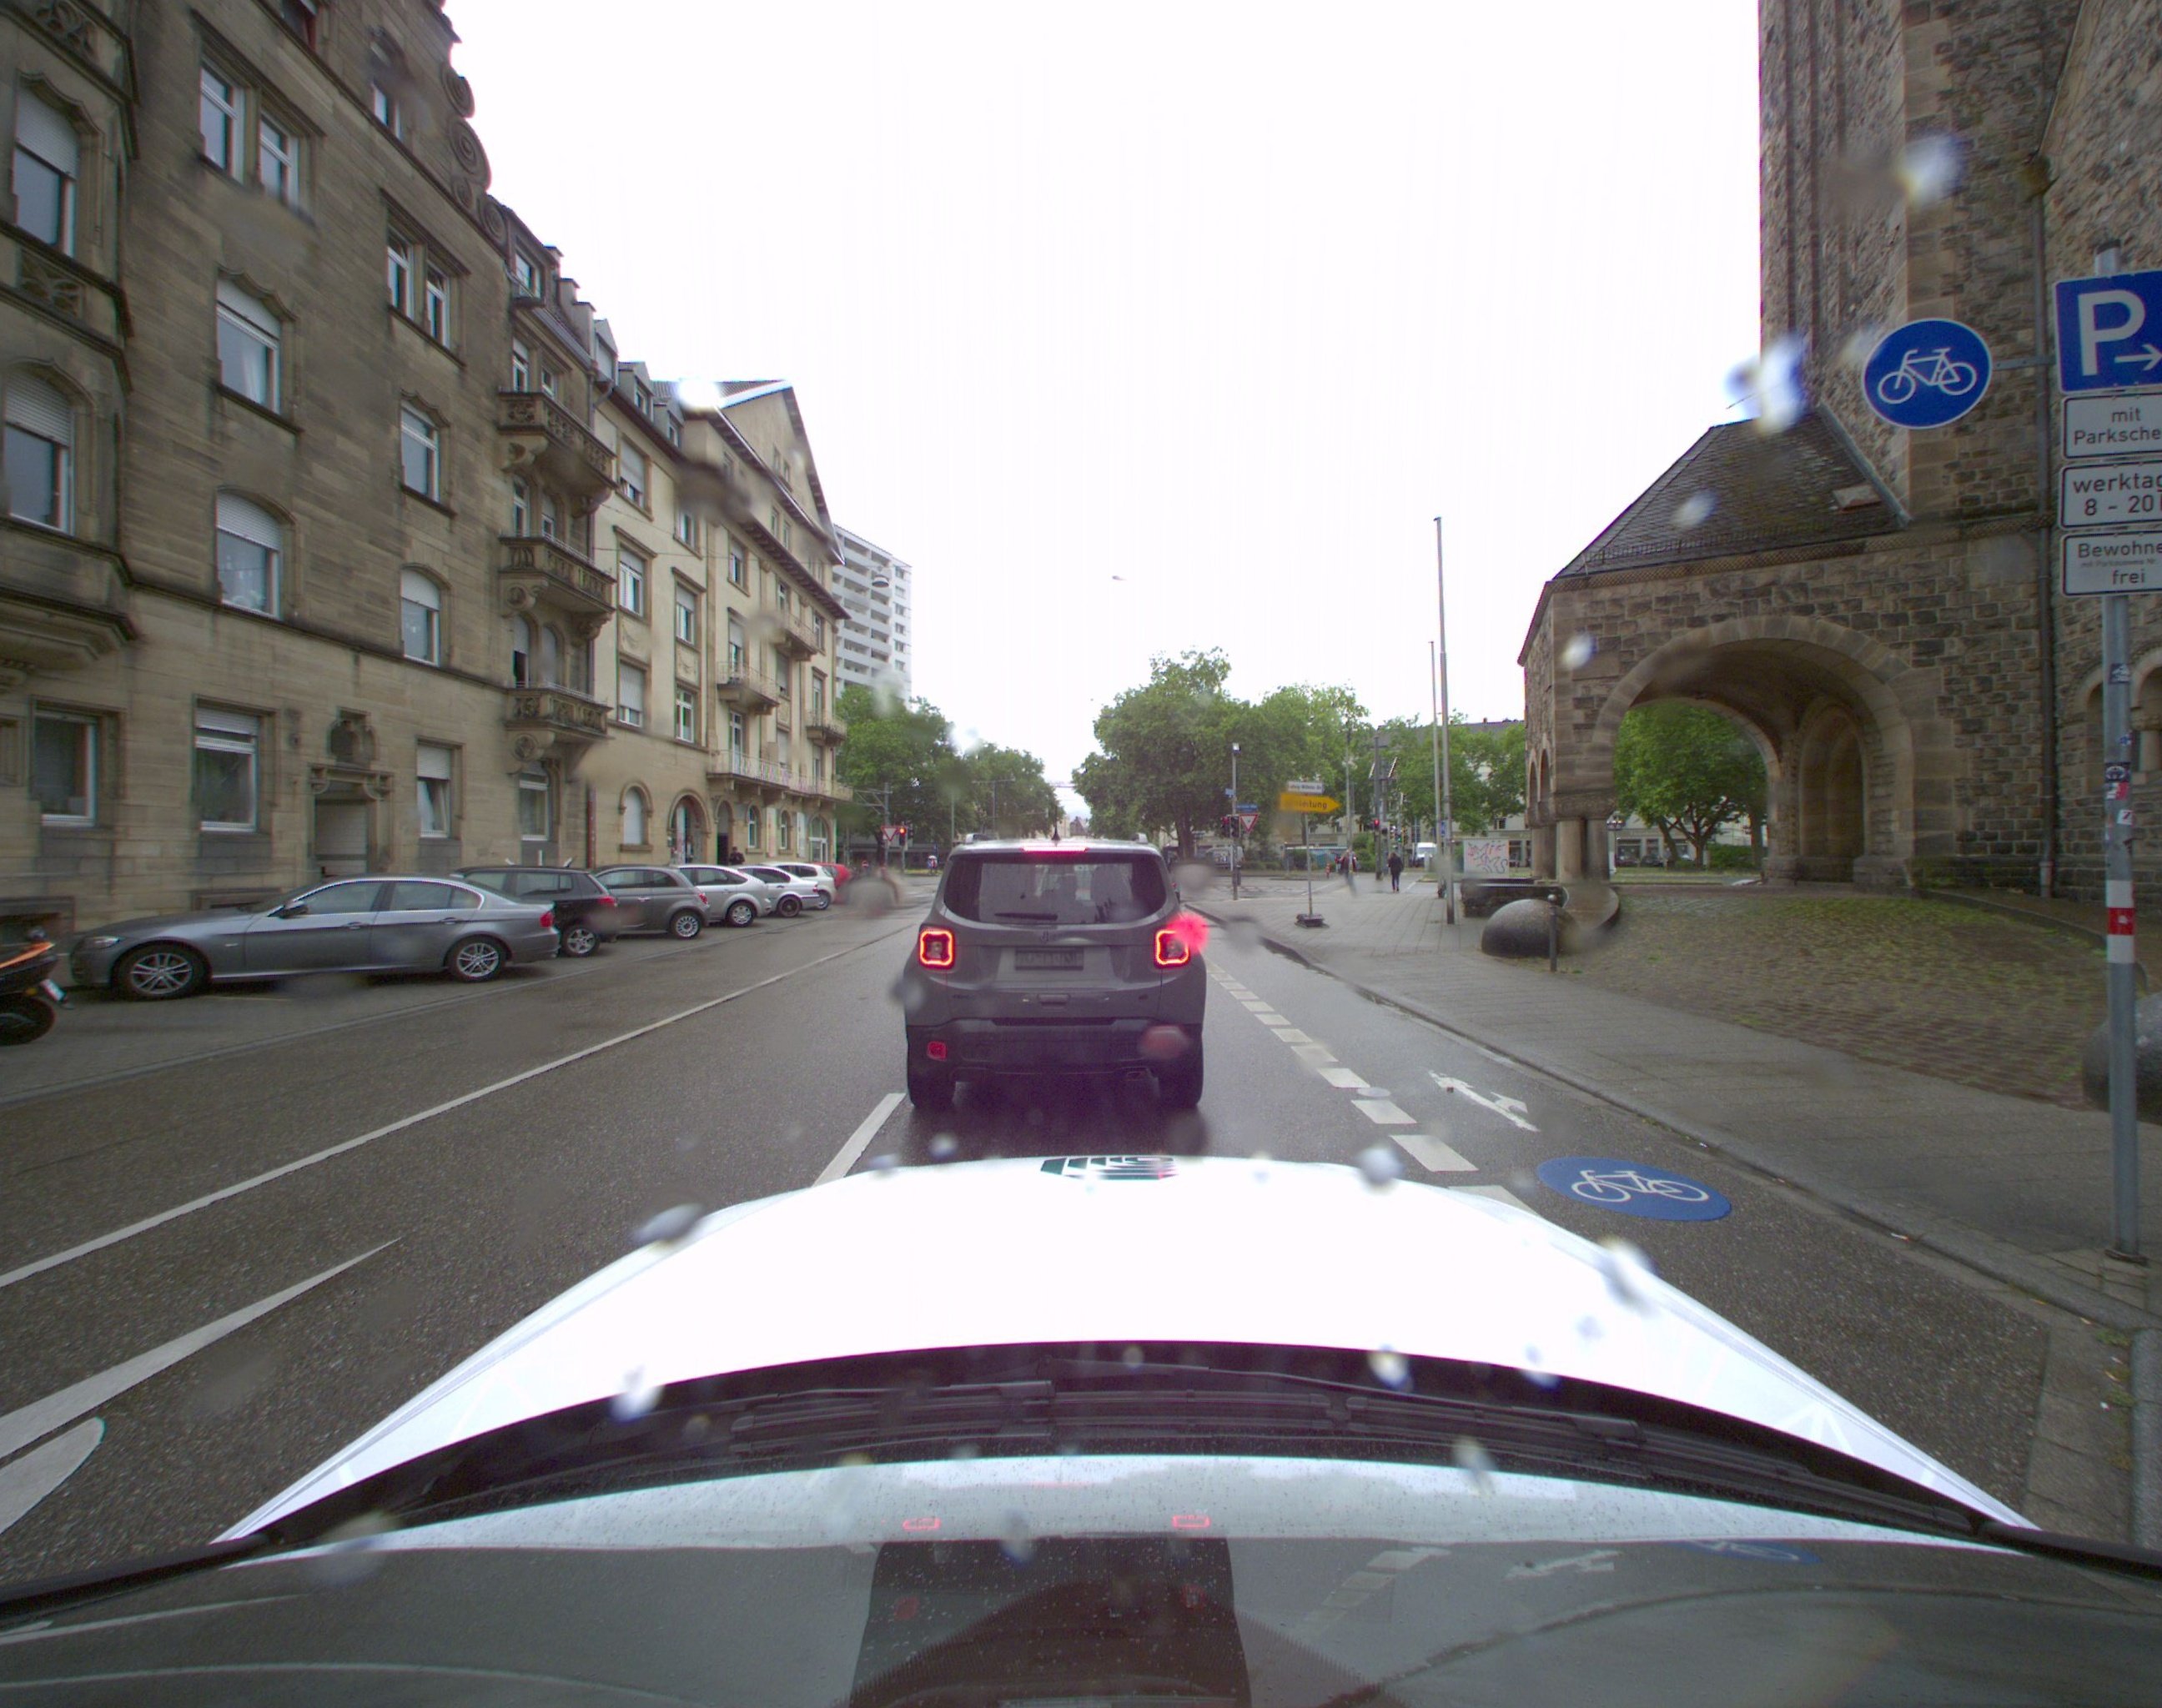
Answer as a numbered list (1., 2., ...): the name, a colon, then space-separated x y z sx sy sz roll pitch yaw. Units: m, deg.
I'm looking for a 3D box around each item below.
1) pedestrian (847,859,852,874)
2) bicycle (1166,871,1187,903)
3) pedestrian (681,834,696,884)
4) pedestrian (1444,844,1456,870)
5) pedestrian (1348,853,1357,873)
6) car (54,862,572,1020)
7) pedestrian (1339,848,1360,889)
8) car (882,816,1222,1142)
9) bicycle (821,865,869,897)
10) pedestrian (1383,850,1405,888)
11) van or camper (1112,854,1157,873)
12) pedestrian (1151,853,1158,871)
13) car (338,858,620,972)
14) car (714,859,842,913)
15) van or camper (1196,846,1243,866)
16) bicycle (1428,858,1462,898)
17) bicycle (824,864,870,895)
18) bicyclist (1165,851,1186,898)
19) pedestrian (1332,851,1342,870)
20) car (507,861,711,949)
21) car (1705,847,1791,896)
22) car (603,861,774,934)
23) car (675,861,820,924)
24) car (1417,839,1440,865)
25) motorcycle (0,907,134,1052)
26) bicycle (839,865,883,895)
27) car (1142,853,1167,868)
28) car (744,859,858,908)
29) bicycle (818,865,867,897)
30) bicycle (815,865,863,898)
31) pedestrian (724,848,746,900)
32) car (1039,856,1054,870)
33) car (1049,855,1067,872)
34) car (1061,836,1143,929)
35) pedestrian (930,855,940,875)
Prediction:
1. pedestrian: -24.615 1.317 86.482 0.442 1.530 0.641 -1 -1 -10
2. bicycle: 3.353 1.133 28.789 0.688 1.021 2.662 -2 0 6
3. pedestrian: -14.433 0.195 29.929 0.365 1.823 0.347 -2 -1 -1
4. pedestrian: 28.977 0.240 63.929 0.798 2.014 0.593 -1 -1 28
5. pedestrian: 21.961 0.692 65.895 0.607 1.603 0.497 -1 -1 26
6. car: -9.415 0.925 10.535 4.573 1.545 1.668 -1 0 -42
7. pedestrian: 11.715 0.628 35.528 0.780 1.759 0.949 -2 -1 16
8. car: -0.132 0.673 6.280 1.769 1.687 3.848 -2 0 1
9. bicycle: -9.712 1.100 33.563 1.804 1.266 0.498 -1 -1 -1
10. pedestrian: 13.577 0.648 35.341 0.775 1.645 0.659 -2 -1 25
11. van or camper: 8.200 1.462 124.755 6.466 2.912 2.509 -1 0 26
12. pedestrian: 8.381 0.897 92.591 0.646 2.014 0.484 -1 -1 14
13. car: -9.785 0.895 13.465 3.571 1.598 1.587 -1 0 -38
14. car: -9.515 0.955 25.624 3.419 1.558 1.686 -1 0 -38
15. van or camper: 16.015 0.203 94.609 5.234 2.315 2.093 0 0 5
16. bicycle: 11.000 0.713 24.647 0.327 1.154 2.079 -1 0 7
17. bicycle: -9.942 1.092 34.597 1.758 1.266 0.608 -1 -1 -1
18. bicyclist: 3.338 0.700 28.767 0.683 1.617 0.885 -2 0 6
19. pedestrian: 21.170 0.555 67.288 0.667 1.554 0.766 -1 -2 29
20. car: -9.542 0.952 16.549 3.419 1.558 1.634 -1 0 -38
21. car: 21.414 0.535 26.259 1.389 1.479 3.239 -1 0 25
22. car: -9.394 0.978 19.576 3.419 1.558 1.686 -1 0 -38
23. car: -9.289 1.012 22.760 3.419 1.558 1.686 -1 0 -38
24. car: 35.501 -0.159 83.198 1.889 2.555 4.815 -1 0 25
25. motorcycle: -9.413 1.045 6.759 1.880 1.162 0.627 2 -2 -36
26. bicycle: -9.573 1.133 35.468 1.758 1.266 0.608 -1 -1 -1
27. car: 10.764 0.923 119.442 3.411 2.014 1.554 -2 -1 15
28. car: -9.772 0.994 28.500 3.419 1.558 1.686 -1 0 -38
29. bicycle: -9.602 1.087 32.877 1.804 1.266 0.498 -1 -1 -1
30. bicycle: -9.599 1.093 32.330 1.758 1.266 0.522 -1 -1 -1
31. pedestrian: -13.443 0.777 31.650 0.565 2.014 0.655 -1 -1 1
32. car: -4.354 1.094 101.914 1.810 1.670 3.916 -1 0 -3
33. car: -2.410 0.949 84.810 1.717 1.739 3.726 -1 0 -2
34. car: 0.513 0.629 19.953 1.764 2.013 4.001 -1 0 1
35. pedestrian: -14.081 1.063 78.350 0.613 1.826 0.698 -2 -1 21
